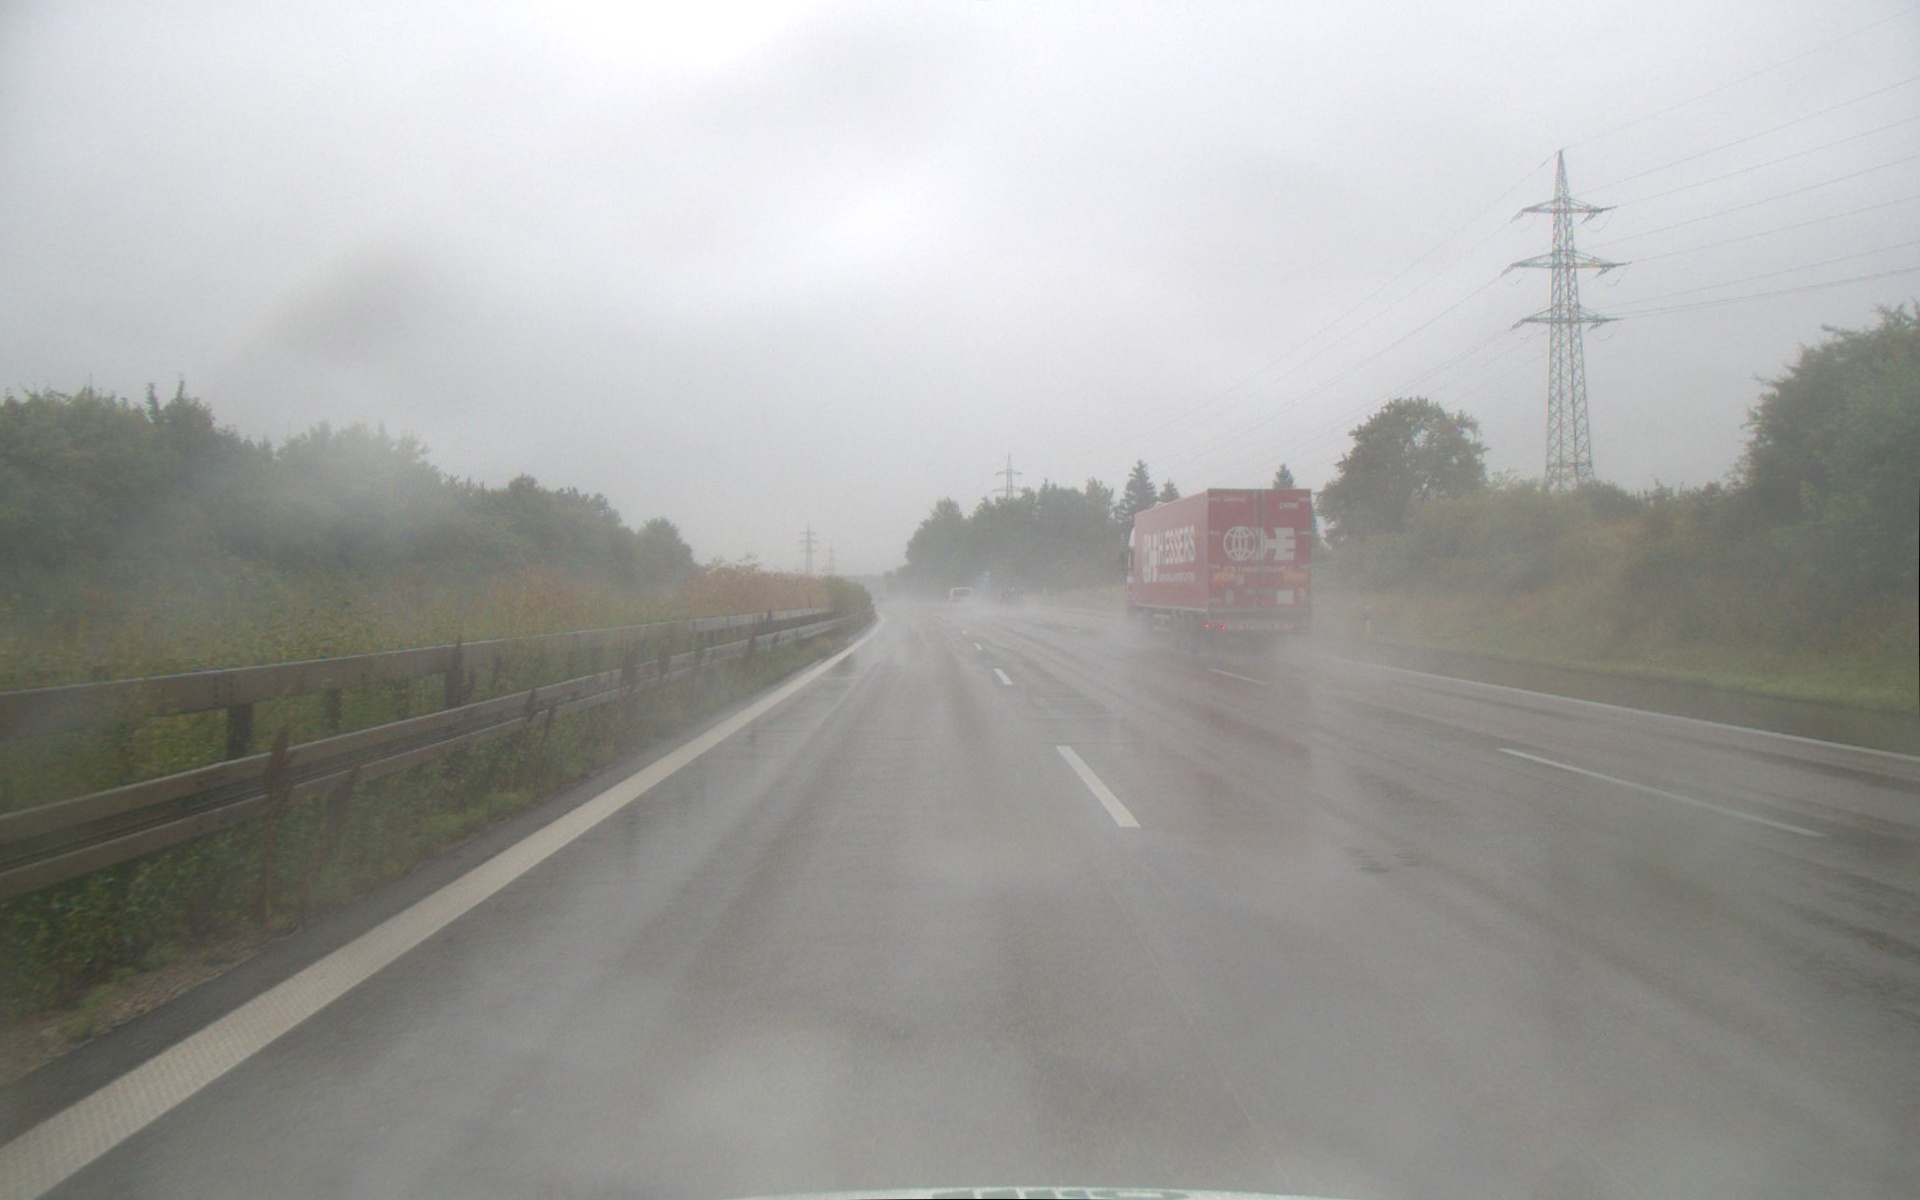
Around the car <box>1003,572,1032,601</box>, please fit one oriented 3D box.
[{"bbox_3d":[4.481,-1.063,130.076,1.771,2.196,3.997,-2,0,-4],"label":"car"}]

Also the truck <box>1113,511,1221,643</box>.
[{"bbox_3d":[6.721,-0.731,54.336,2.567,4.024,5.431,-2,0,-2],"label":"truck"}]

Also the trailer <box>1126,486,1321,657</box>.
[{"bbox_3d":[7.034,-0.704,46.646,2.568,4.024,13.623,-2,0,-3],"label":"trailer"}]
